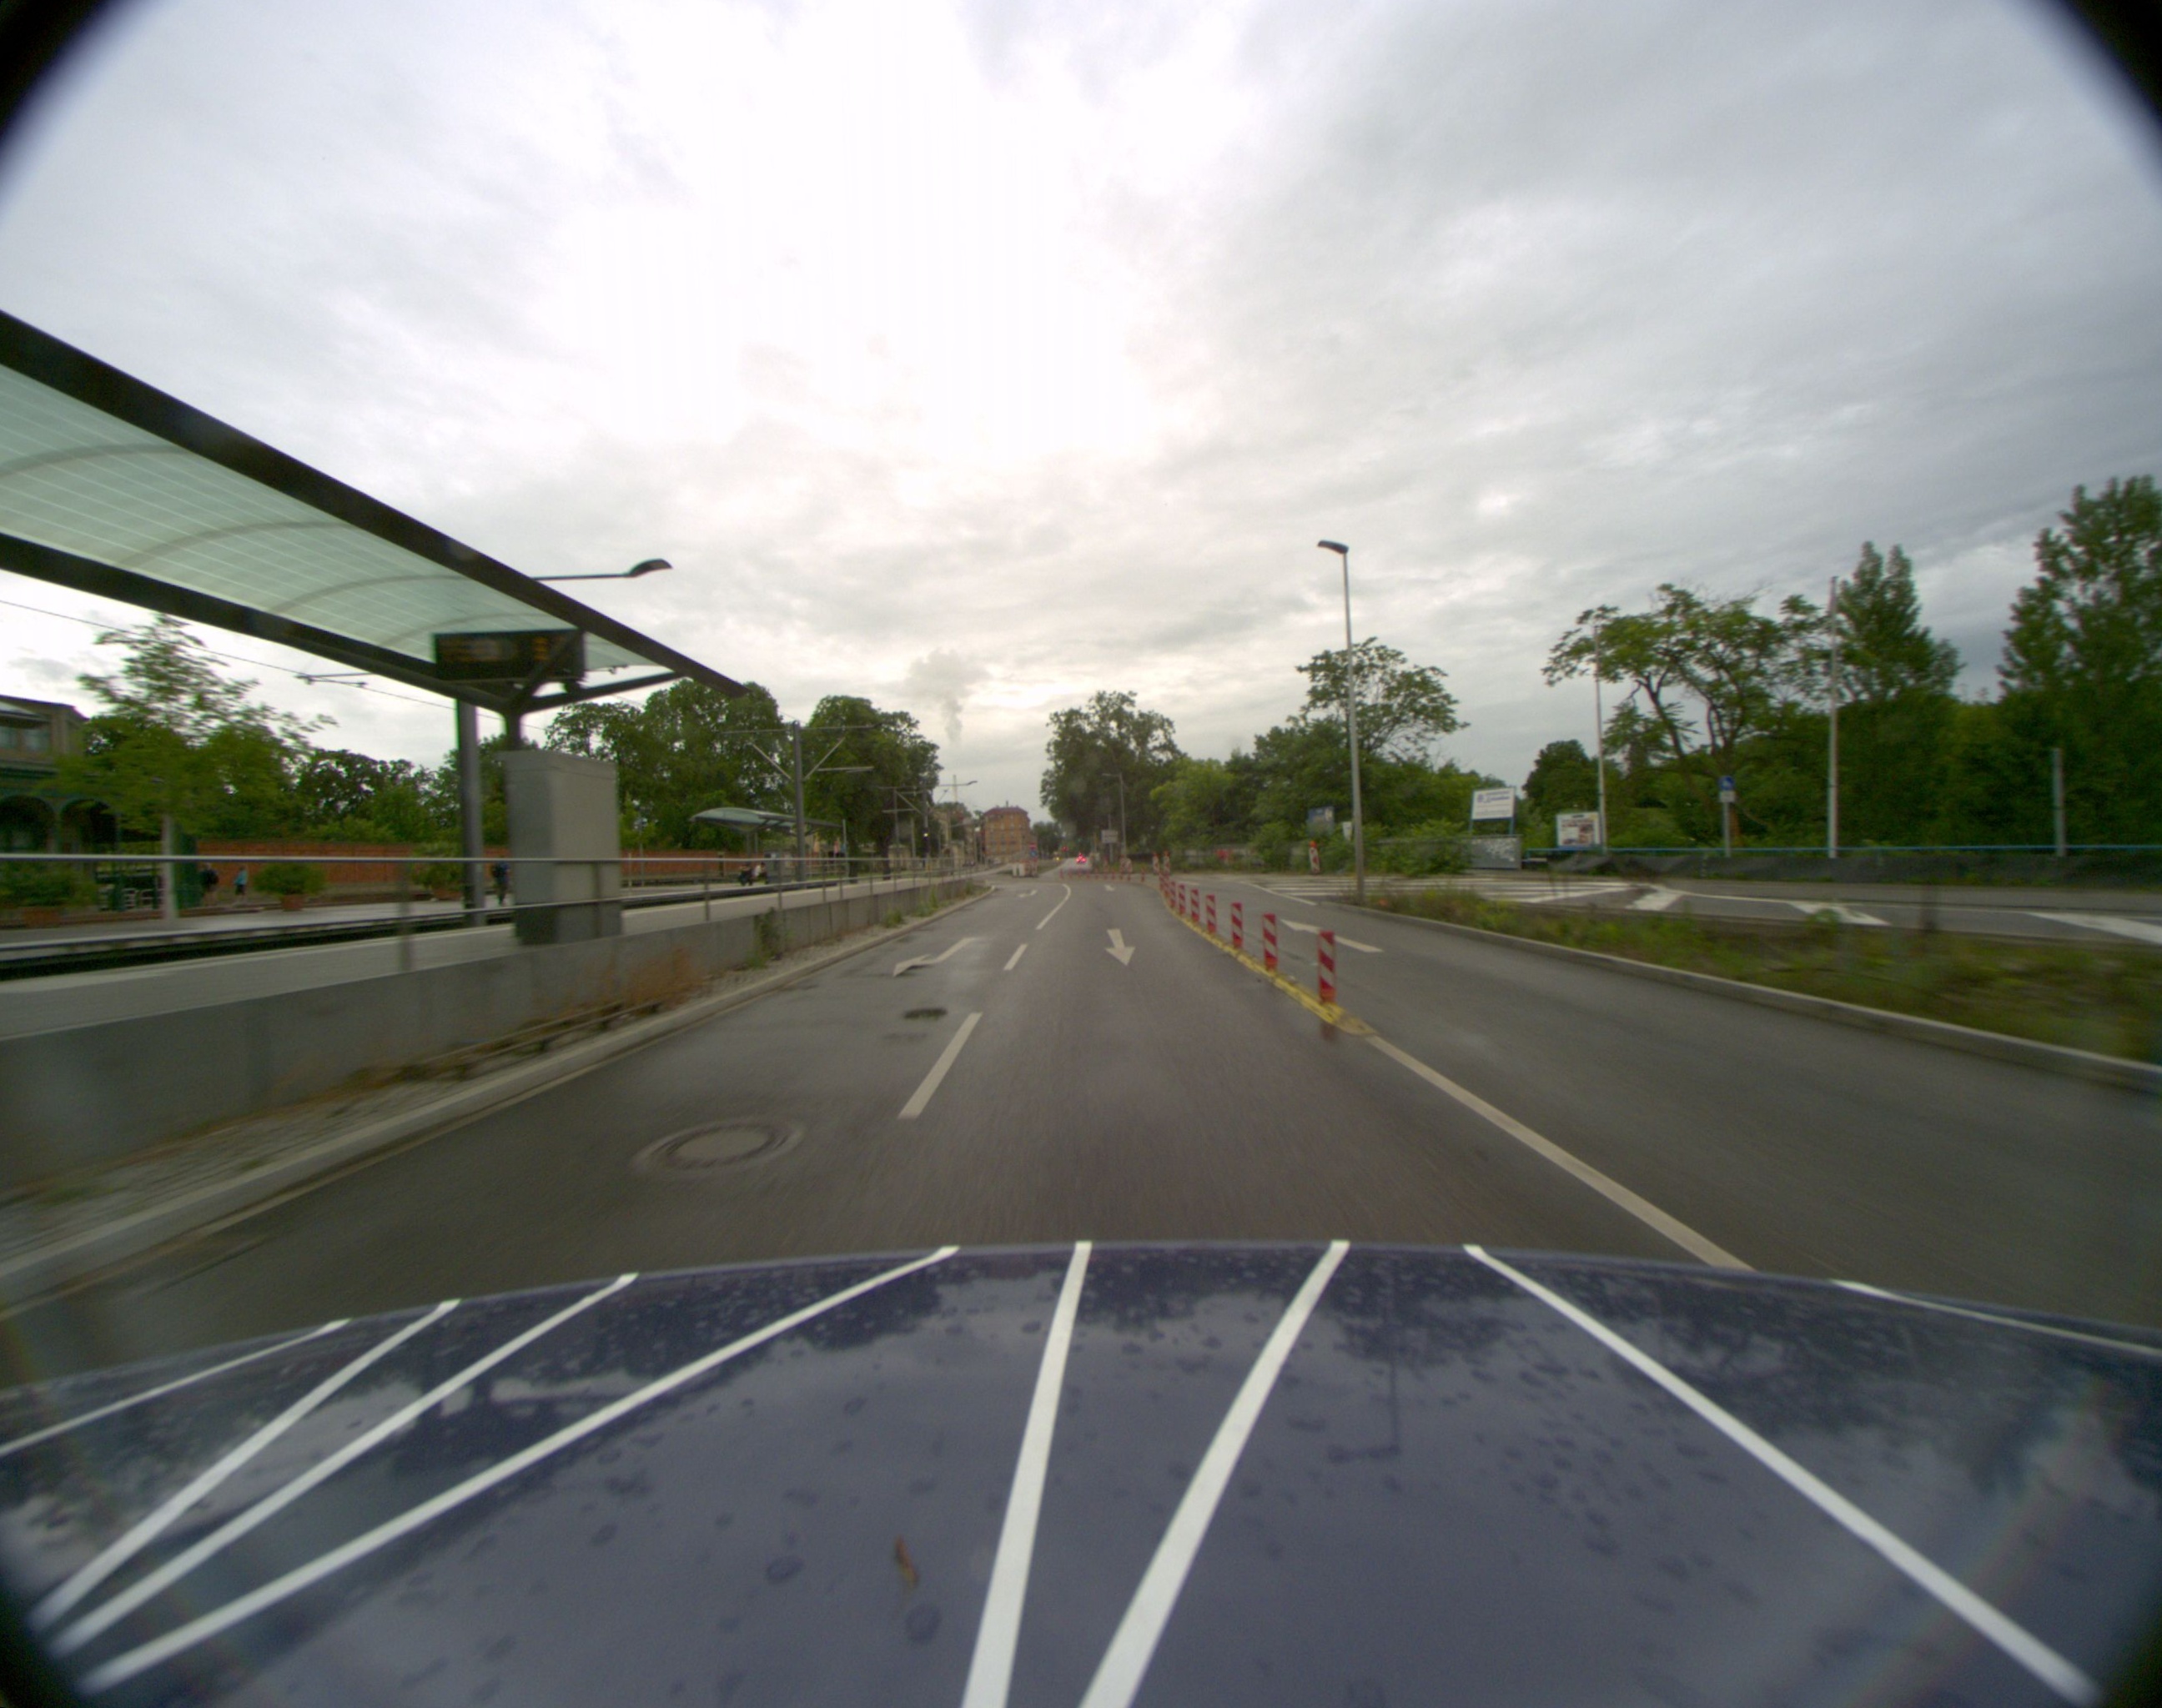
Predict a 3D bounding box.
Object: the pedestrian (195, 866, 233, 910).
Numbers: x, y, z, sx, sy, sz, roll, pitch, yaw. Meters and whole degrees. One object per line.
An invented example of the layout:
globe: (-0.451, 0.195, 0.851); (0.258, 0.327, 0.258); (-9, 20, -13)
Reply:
pedestrian: (-34.706, 1.350, 30.414); (0.532, 1.701, 0.695); (-5, 2, 12)

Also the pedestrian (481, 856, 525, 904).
pedestrian: (-21.852, 0.966, 28.735); (0.722, 1.780, 1.182); (-1, 0, 1)

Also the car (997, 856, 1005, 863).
car: (-21.292, 1.361, 201.565); (1.844, 1.630, 4.141); (-6, 1, -4)

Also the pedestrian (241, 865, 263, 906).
pedestrian: (-34.245, 1.297, 31.377); (0.550, 1.647, 0.470); (-2, 1, 35)

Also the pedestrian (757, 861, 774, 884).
pedestrian: (-16.190, 0.964, 38.985); (0.602, 1.112, 0.519); (-7, 1, -15)

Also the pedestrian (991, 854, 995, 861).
pedestrian: (-24.086, 1.009, 208.827); (0.783, 1.796, 0.696); (-5, 2, -41)

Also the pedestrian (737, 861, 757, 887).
pedestrian: (-16.799, 0.996, 38.247); (0.520, 1.206, 0.782); (-7, 2, -4)

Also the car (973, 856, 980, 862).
car: (-30.203, 1.447, 219.991); (1.831, 1.573, 3.997); (-2, 1, -6)
